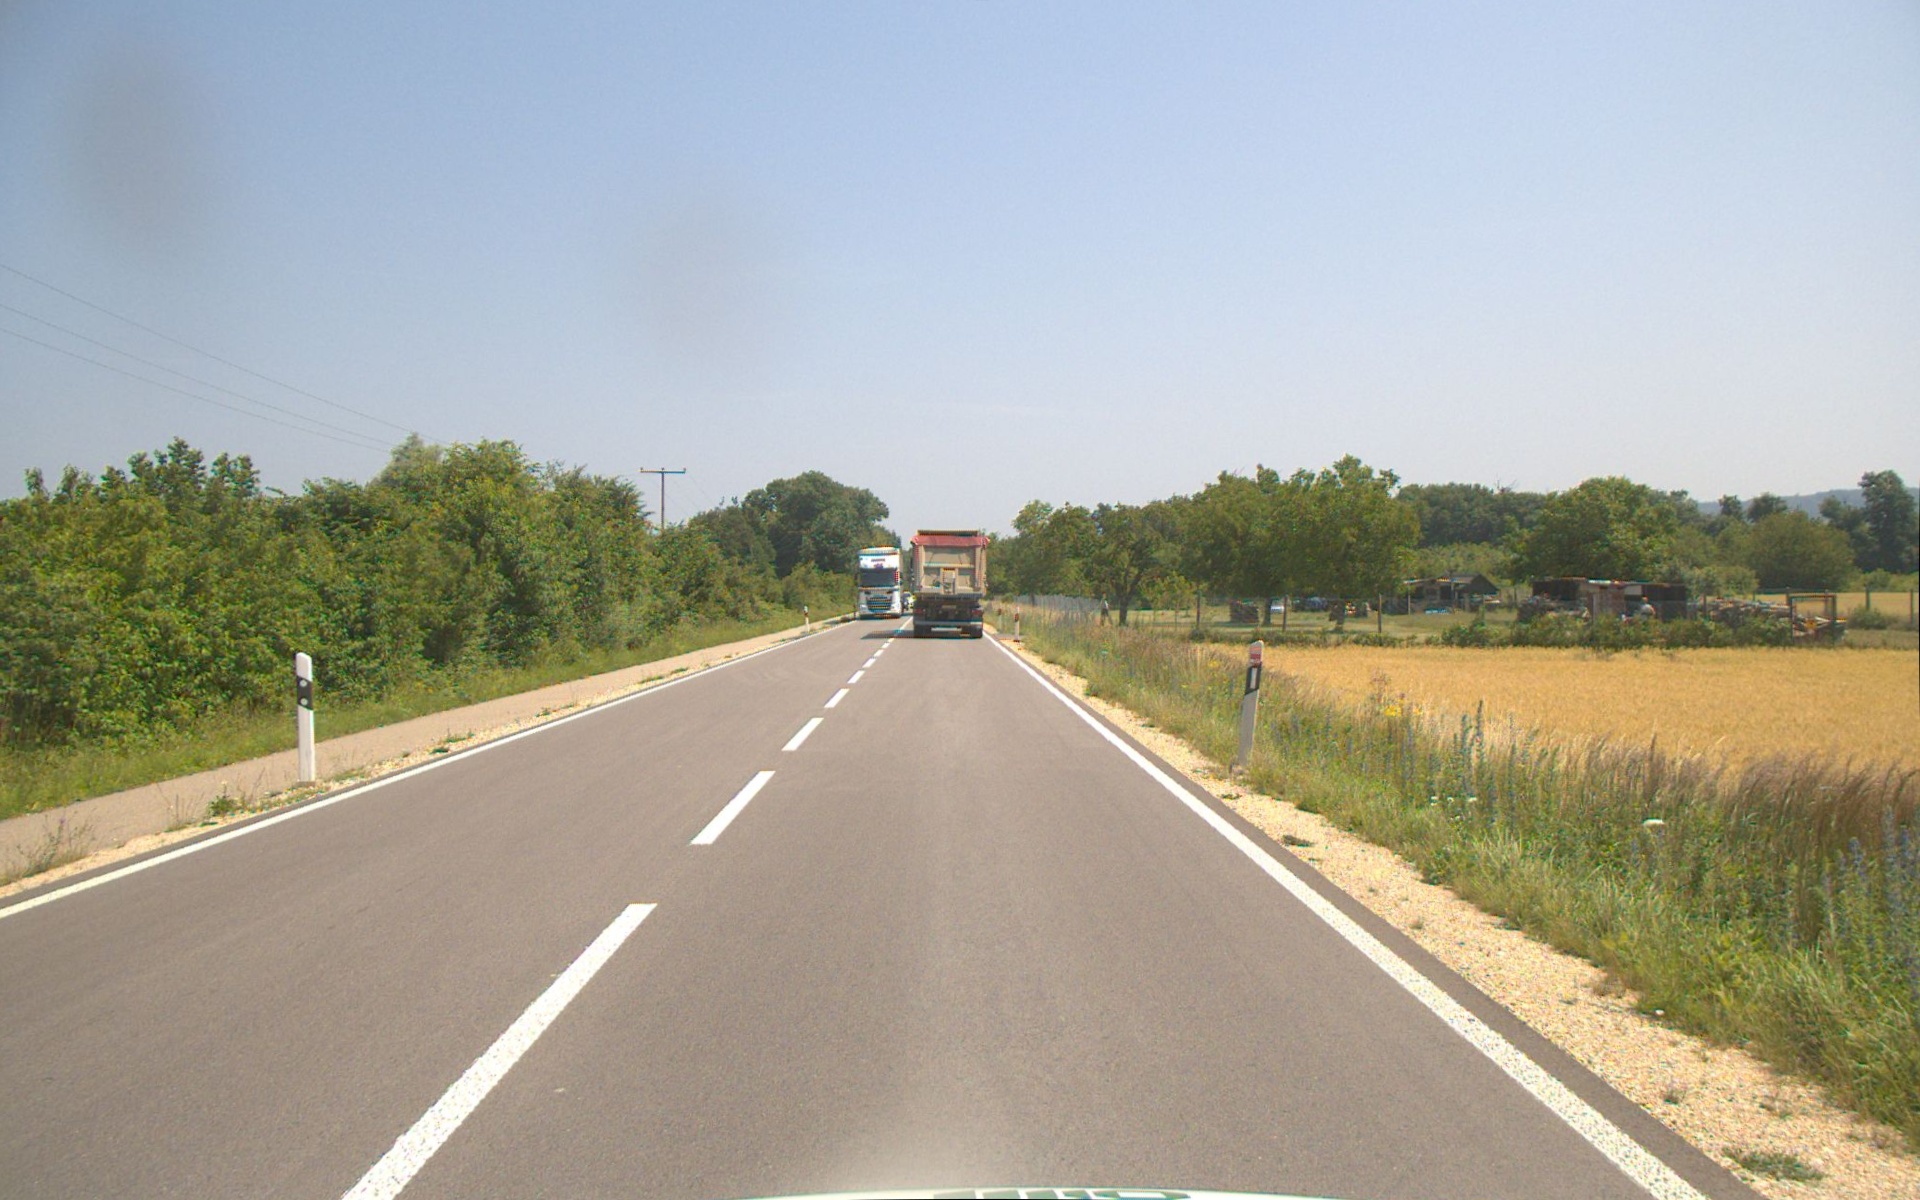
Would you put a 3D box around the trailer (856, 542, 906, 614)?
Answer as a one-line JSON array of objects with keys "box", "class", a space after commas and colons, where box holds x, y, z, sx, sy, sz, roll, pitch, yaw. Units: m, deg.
[{"box": [-5.103, -1.415, 109.123, 2.662, 4.340, 13.807, -2, 0, -1], "class": "trailer"}]

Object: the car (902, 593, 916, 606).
[{"box": [-6.395, -0.094, 207.040, 1.723, 1.567, 4.045, -3, 0, -1], "class": "car"}]

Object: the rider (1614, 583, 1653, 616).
[{"box": [25.550, -0.035, 62.754, 1.005, 1.239, 0.984, 0, 0, -7], "class": "rider"}]

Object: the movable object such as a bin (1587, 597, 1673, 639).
[{"box": [25.624, 0.668, 63.383, 1.540, 1.522, 3.655, 0, 0, -5], "class": "movable object such as a bin"}]

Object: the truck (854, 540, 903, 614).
[{"box": [-5.030, -1.388, 102.998, 2.662, 4.340, 7.388, -2, 0, -1], "class": "truck"}]

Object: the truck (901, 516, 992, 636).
[{"box": [-0.556, -0.808, 61.453, 2.948, 3.942, 12.206, 1, 0, -1], "class": "truck"}]

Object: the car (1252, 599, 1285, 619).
[{"box": [24.880, 0.711, 133.423, 1.563, 1.512, 3.421, 0, 1, -9], "class": "car"}]
